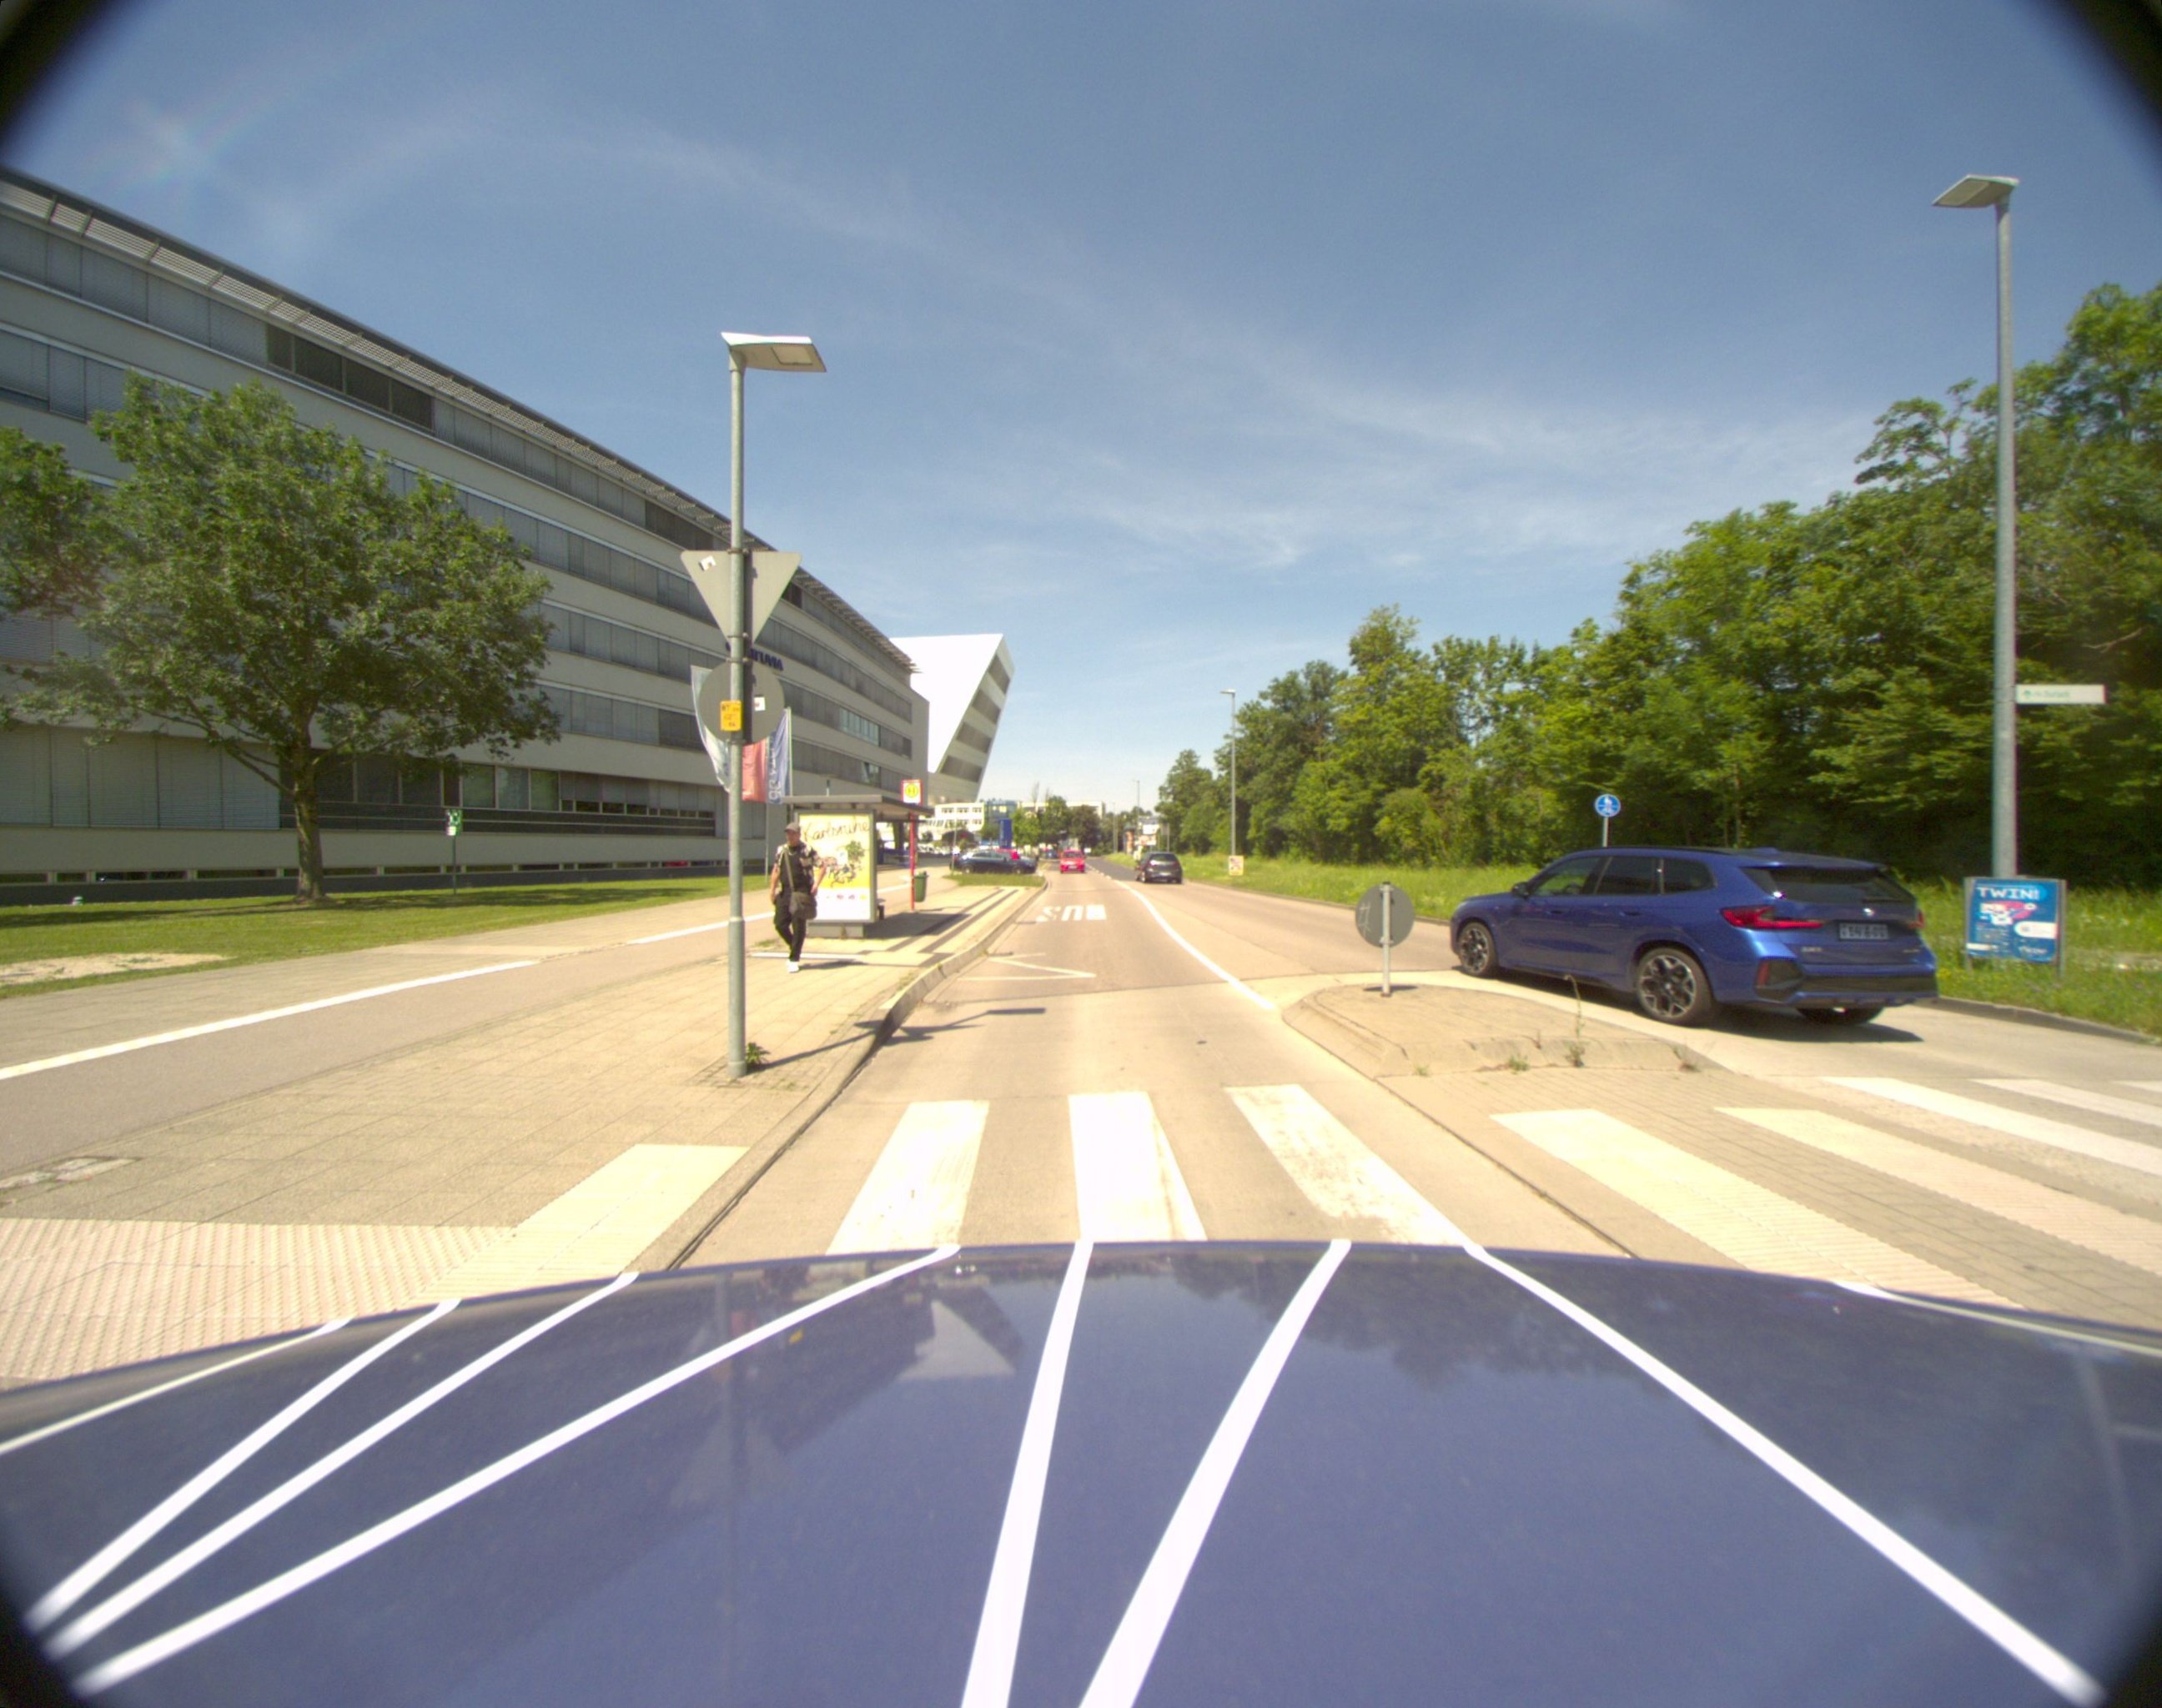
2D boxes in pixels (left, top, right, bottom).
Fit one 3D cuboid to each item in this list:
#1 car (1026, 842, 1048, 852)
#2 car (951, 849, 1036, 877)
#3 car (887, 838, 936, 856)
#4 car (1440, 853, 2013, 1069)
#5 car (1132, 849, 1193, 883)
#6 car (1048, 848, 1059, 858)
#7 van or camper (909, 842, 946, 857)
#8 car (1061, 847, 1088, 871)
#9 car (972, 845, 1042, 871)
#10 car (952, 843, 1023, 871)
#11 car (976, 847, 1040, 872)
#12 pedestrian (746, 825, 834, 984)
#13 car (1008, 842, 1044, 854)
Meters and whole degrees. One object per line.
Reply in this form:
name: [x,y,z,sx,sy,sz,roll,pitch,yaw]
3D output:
car: [-8.636,-1.344,149.194,4.204,1.964,1.704,-1,1,5]
car: [-4.850,0.482,42.579,4.580,1.424,1.826,2,1,-4]
car: [-26.049,-1.043,117.145,6.961,2.647,2.255,-1,1,8]
car: [5.934,0.834,7.882,2.000,1.586,4.320,0,-1,-7]
car: [3.697,0.536,35.169,1.999,1.470,4.287,1,0,-5]
car: [-4.495,-0.146,124.675,1.802,1.490,3.998,-1,1,-2]
van or camper: [-25.475,-0.797,126.020,5.699,2.376,1.704,-1,1,5]
car: [-0.392,0.317,50.161,1.662,1.495,3.356,-1,1,1]
car: [-4.814,0.241,49.800,4.332,1.555,1.786,1,1,0]
car: [-5.518,0.167,45.270,3.997,1.645,1.839,0,1,1]
car: [-4.515,0.342,47.388,3.817,1.477,1.655,1,1,1]
pedestrian: [-3.473,0.572,9.126,0.710,1.812,0.826,2,1,-1]
car: [-10.401,-1.195,143.419,6.492,2.137,2.165,-1,1,5]
